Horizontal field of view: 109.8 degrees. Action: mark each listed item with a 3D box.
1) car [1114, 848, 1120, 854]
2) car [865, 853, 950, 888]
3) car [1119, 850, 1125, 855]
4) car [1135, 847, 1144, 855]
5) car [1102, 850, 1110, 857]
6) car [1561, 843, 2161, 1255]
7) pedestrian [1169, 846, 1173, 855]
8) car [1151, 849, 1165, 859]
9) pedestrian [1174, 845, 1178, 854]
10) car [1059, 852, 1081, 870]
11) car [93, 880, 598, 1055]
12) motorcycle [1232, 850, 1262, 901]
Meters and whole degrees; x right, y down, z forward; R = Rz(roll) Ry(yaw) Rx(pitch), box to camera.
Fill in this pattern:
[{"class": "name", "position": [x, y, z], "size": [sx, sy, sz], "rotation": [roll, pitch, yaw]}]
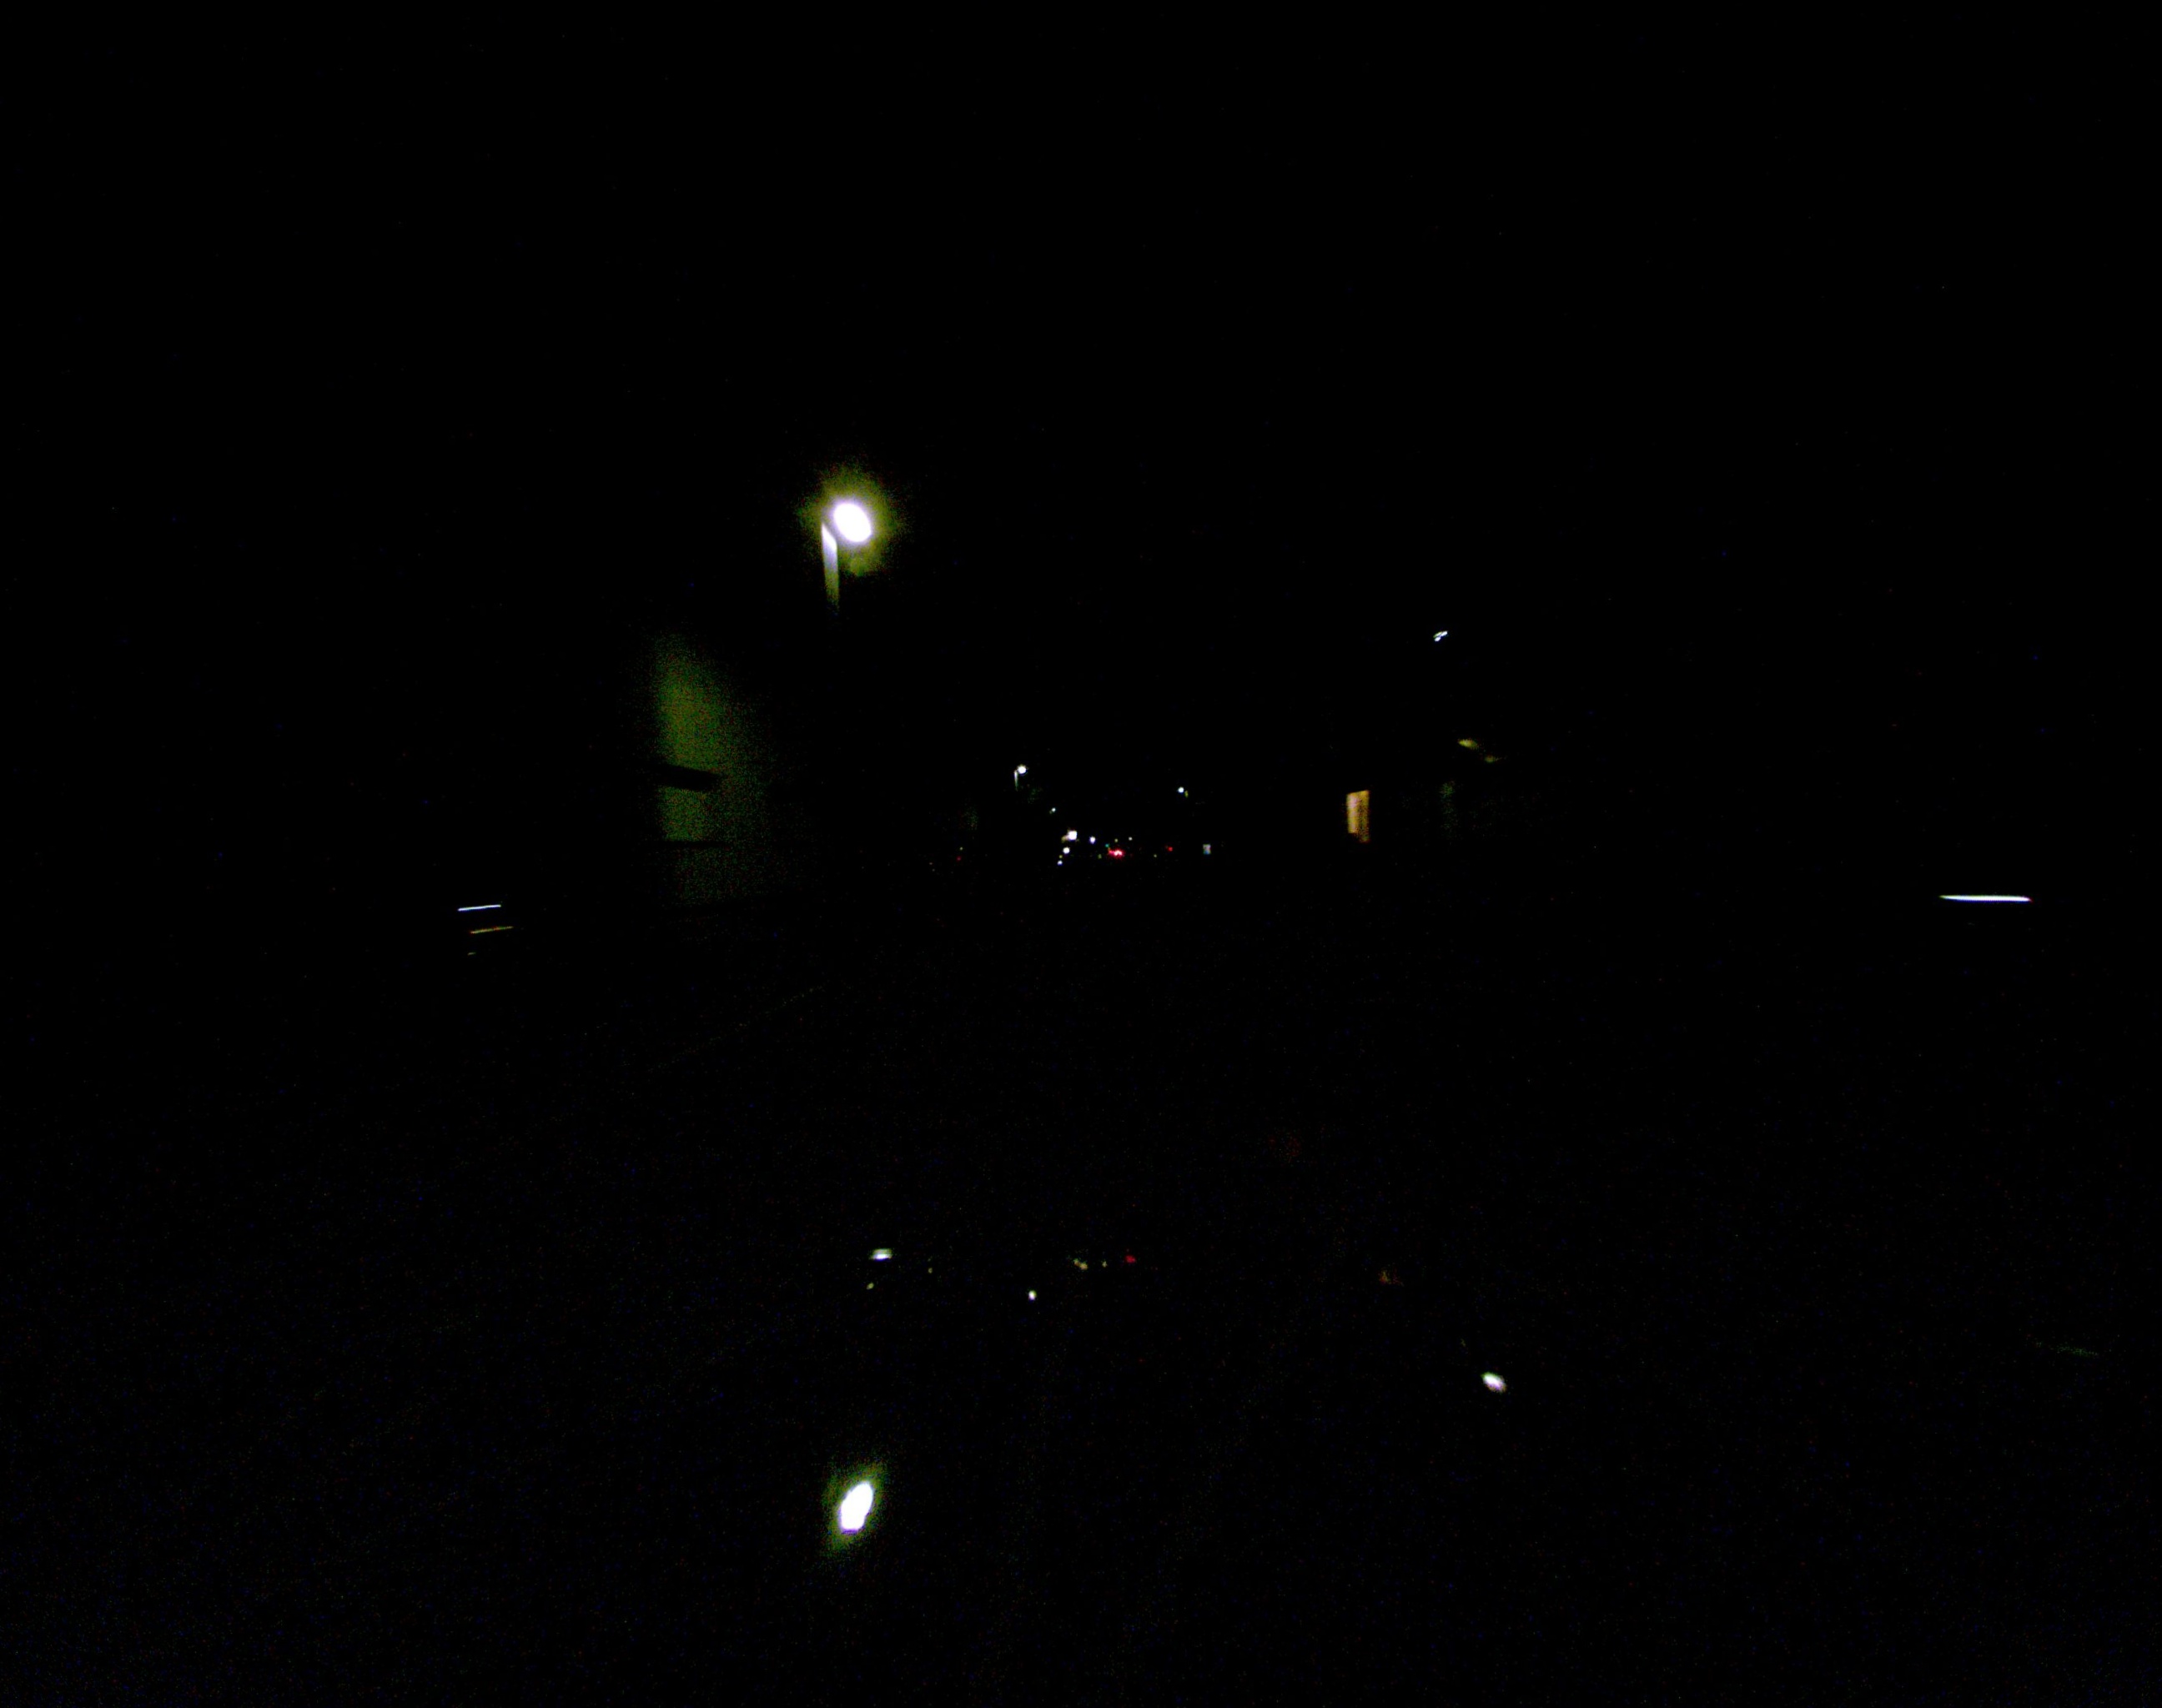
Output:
[{"class": "car", "position": [11.443, -0.965, 239.089], "size": [1.752, 1.635, 4.307], "rotation": [-1, 0, 0]}, {"class": "car", "position": [-8.093, 0.749, 35.656], "size": [3.514, 1.516, 1.820], "rotation": [1, 1, 0]}, {"class": "car", "position": [12.144, -0.382, 224.389], "size": [1.720, 1.420, 3.816], "rotation": [-2, 0, 4]}, {"class": "car", "position": [13.409, -0.751, 175.171], "size": [1.814, 1.637, 3.804], "rotation": [-3, 0, 3]}, {"class": "car", "position": [5.591, -0.185, 169.684], "size": [1.606, 1.474, 3.699], "rotation": [-1, 0, 1]}, {"class": "car", "position": [4.920, 0.724, 4.336], "size": [1.692, 1.501, 4.278], "rotation": [-2, 0, 1]}, {"class": "pedestrian", "position": [16.293, -0.668, 138.085], "size": [0.529, 1.579, 0.665], "rotation": [-2, 1, -4]}, {"class": "car", "position": [12.187, 0.035, 120.934], "size": [1.900, 1.411, 4.931], "rotation": [-3, 0, 4]}, {"class": "pedestrian", "position": [17.195, -0.751, 137.888], "size": [0.529, 1.579, 0.665], "rotation": [-2, 1, -6]}, {"class": "car", "position": [-0.944, 0.610, 68.298], "size": [1.747, 1.560, 4.209], "rotation": [-1, 0, 2]}, {"class": "car", "position": [-7.578, 1.124, 8.094], "size": [3.720, 1.464, 1.730], "rotation": [-2, 1, 3]}, {"class": "motorcycle", "position": [5.086, 0.631, 23.414], "size": [0.747, 1.444, 2.197], "rotation": [-2, 1, 9]}]
